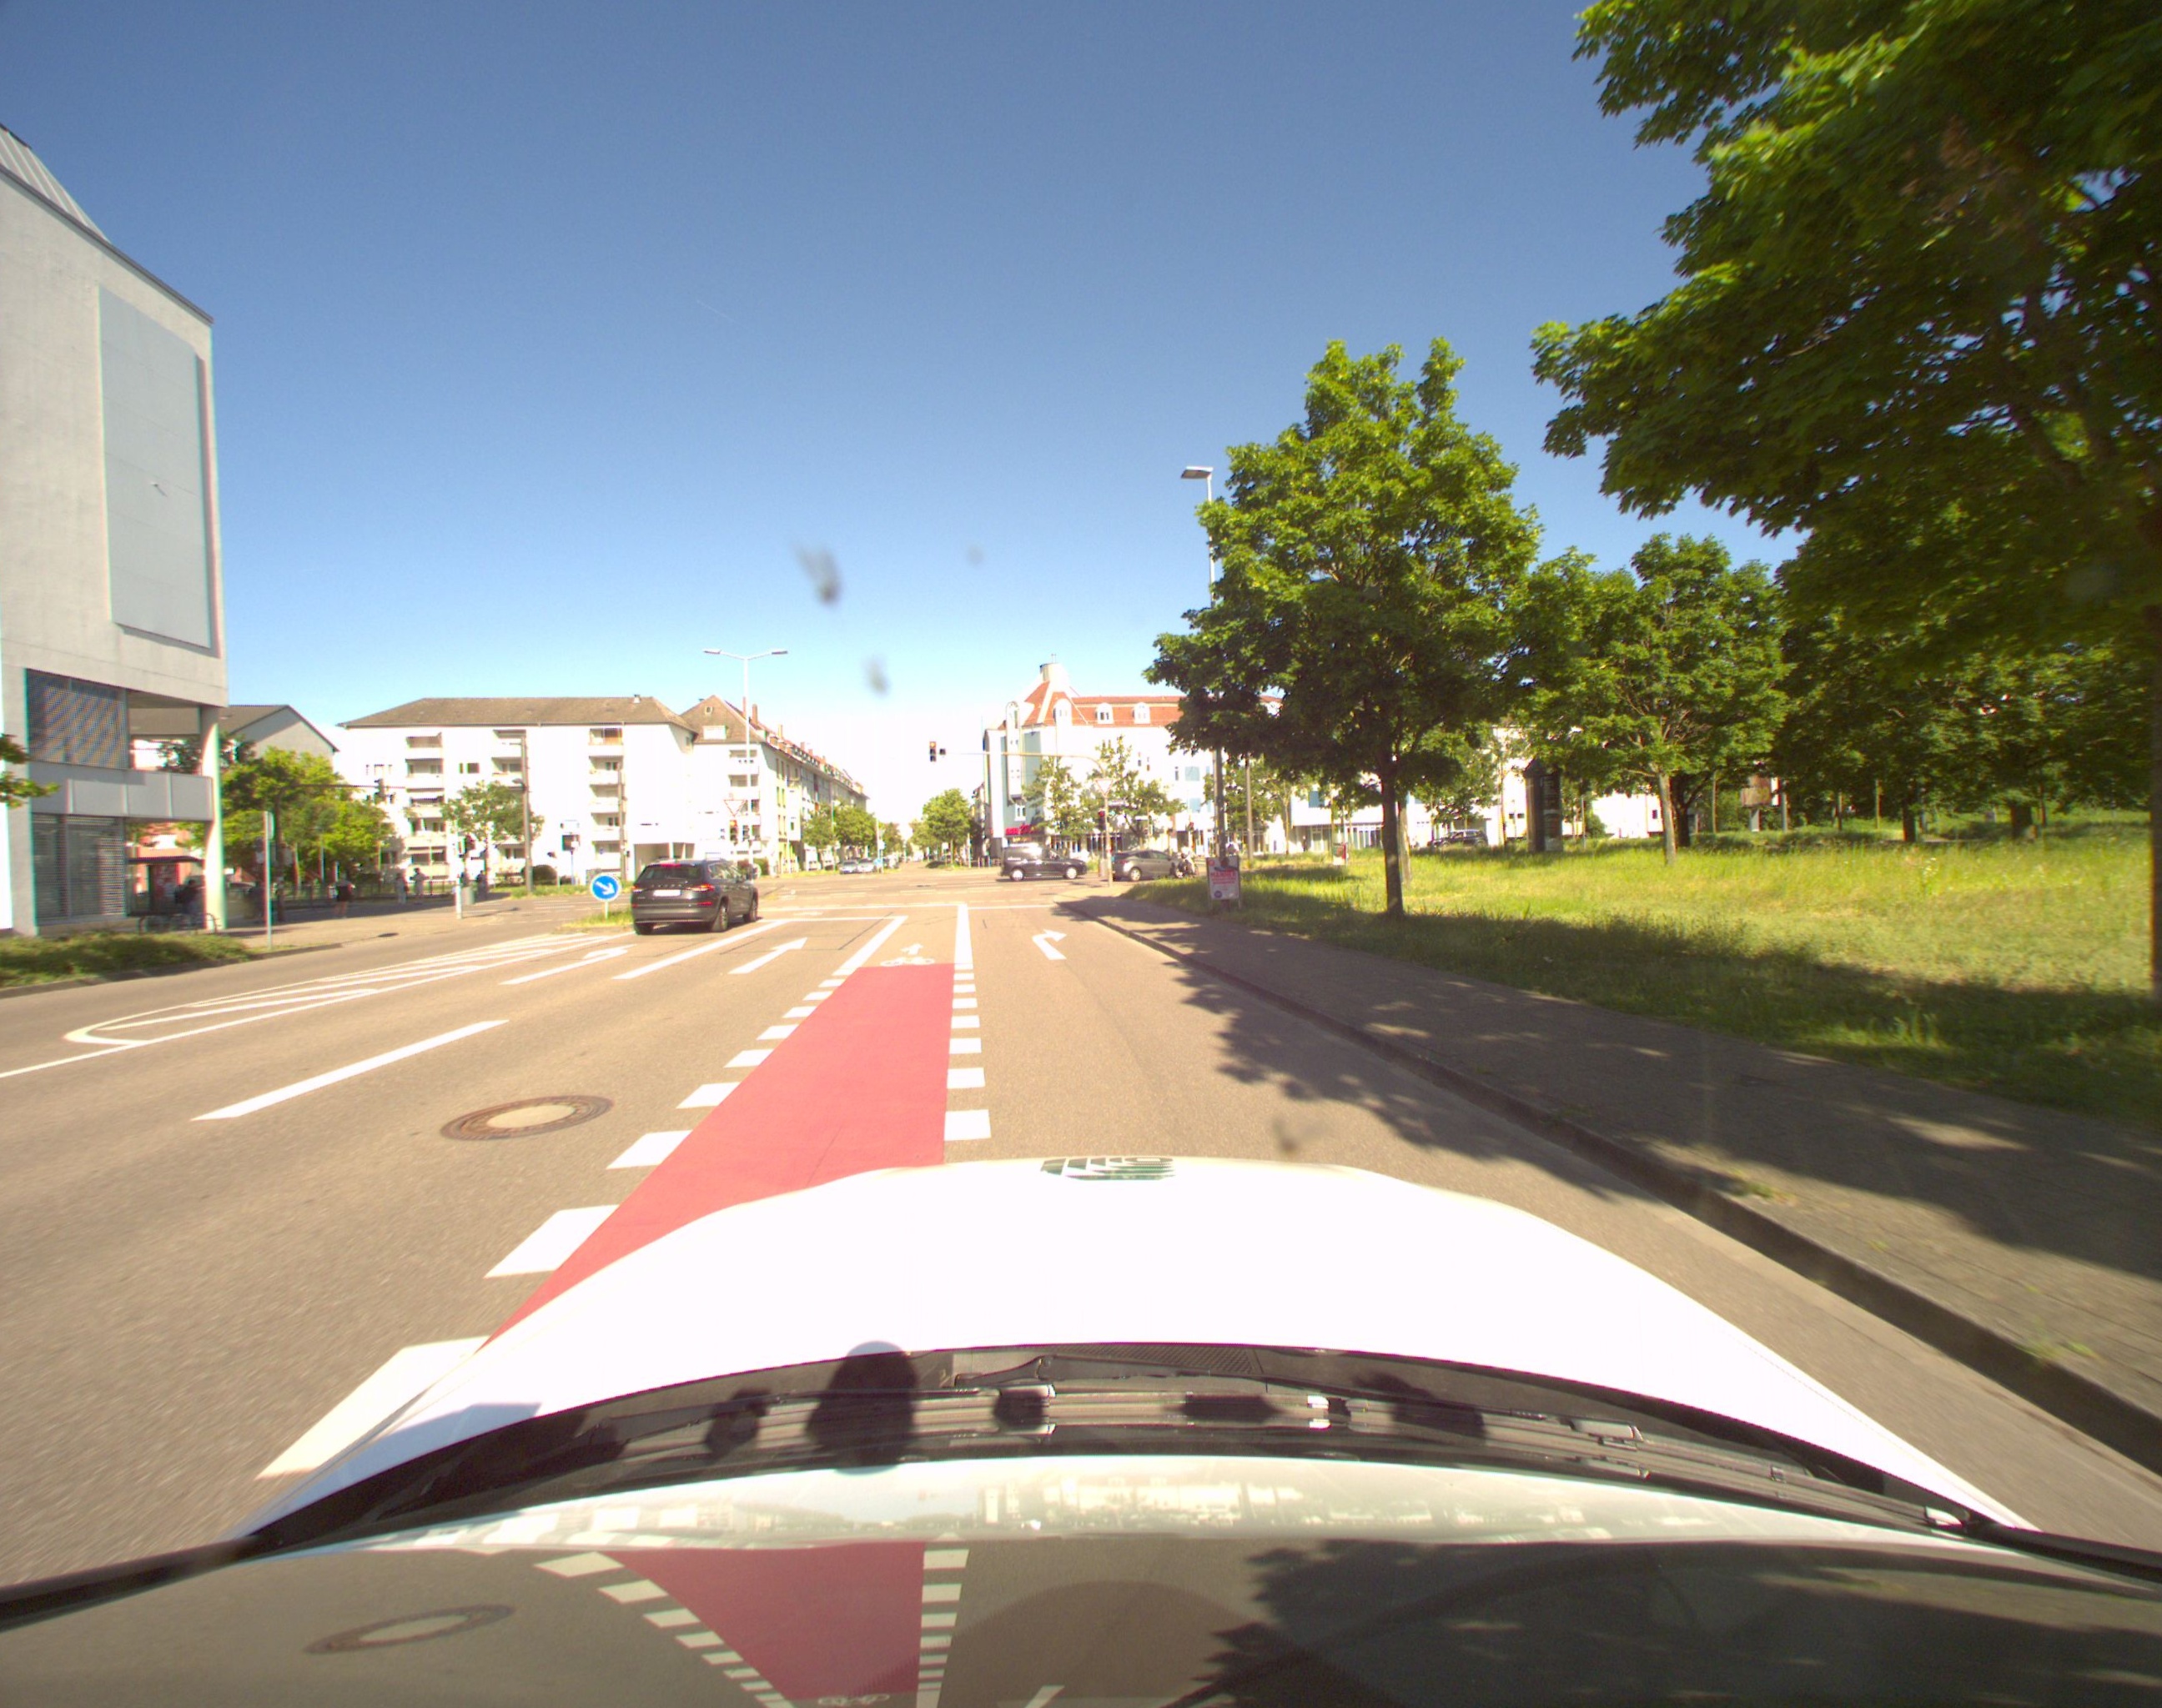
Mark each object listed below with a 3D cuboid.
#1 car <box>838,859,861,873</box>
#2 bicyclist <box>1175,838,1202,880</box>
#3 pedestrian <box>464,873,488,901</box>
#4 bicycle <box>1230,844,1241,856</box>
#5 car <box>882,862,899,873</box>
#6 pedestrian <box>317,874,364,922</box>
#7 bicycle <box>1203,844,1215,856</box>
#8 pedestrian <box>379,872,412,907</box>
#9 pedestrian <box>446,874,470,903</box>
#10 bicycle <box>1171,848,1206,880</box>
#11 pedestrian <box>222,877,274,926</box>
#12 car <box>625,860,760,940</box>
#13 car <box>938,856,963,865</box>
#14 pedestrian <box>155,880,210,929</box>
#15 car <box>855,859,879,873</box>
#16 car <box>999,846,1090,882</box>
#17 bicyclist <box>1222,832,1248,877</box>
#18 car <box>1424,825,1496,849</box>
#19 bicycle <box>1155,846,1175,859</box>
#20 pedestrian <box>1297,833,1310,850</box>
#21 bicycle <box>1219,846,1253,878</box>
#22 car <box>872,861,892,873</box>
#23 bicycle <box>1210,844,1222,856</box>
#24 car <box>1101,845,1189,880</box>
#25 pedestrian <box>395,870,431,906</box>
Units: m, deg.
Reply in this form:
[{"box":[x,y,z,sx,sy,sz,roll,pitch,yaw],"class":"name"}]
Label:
[{"box":[-24.545,1.228,86.500,1.686,1.432,4.390,0,0,-6],"class":"car"},{"box":[4.878,0.217,36.976,0.783,1.824,1.142,-3,0,29],"class":"bicyclist"},{"box":[-38.542,2.114,51.855,1.139,1.726,0.818,-3,0,33],"class":"pedestrian"},{"box":[15.634,-0.447,82.479,0.560,1.182,1.865,-3,0,-7],"class":"bicycle"},{"box":[-25.253,1.774,108.063,1.686,1.432,4.390,0,0,-6],"class":"car"},{"box":[-28.306,1.670,31.146,0.812,1.726,1.149,-3,0,-14],"class":"pedestrian"},{"box":[12.881,-0.387,82.141,0.560,1.182,1.863,-3,0,-10],"class":"bicycle"},{"box":[-35.533,1.831,42.241,0.812,1.726,1.149,-3,0,-14],"class":"pedestrian"},{"box":[-39.148,2.171,51.182,1.139,1.726,0.818,-3,0,33],"class":"pedestrian"},{"box":[4.902,0.453,36.981,0.783,1.347,2.092,-3,0,29],"class":"bicycle"},{"box":[-30.980,1.756,30.302,0.812,1.726,1.149,-3,0,-14],"class":"pedestrian"},{"box":[-8.906,0.962,19.104,1.754,1.628,4.461,0,0,-11],"class":"car"},{"box":[-19.731,0.936,122.932,3.573,1.223,1.722,-2,-1,-15],"class":"car"},{"box":[-33.377,1.862,30.283,0.812,1.726,1.149,-3,0,-14],"class":"pedestrian"},{"box":[-21.967,1.195,83.618,1.686,1.432,4.390,0,0,-6],"class":"car"},{"box":[-1.894,0.483,41.760,4.482,1.800,1.759,0,-1,-10],"class":"car"},{"box":[6.943,0.031,36.744,0.783,1.959,1.017,-3,0,29],"class":"bicyclist"},{"box":[28.871,-1.269,62.125,4.486,1.609,2.000,-3,0,0],"class":"car"},{"box":[8.302,-0.131,80.217,1.866,1.182,0.559,-3,0,-13],"class":"bicycle"},{"box":[22.624,-1.251,82.754,0.990,1.723,0.652,-3,0,-10],"class":"pedestrian"},{"box":[7.043,0.346,36.913,0.783,1.347,2.277,-3,0,29],"class":"bicycle"},{"box":[-23.170,1.515,94.918,1.686,1.432,4.390,0,0,-6],"class":"car"},{"box":[13.724,-0.393,82.590,0.560,1.182,1.863,-3,0,-10],"class":"bicycle"},{"box":[3.037,0.411,38.511,3.884,1.578,1.677,0,-1,-31],"class":"car"},{"box":[-33.982,1.715,41.453,0.922,1.770,1.149,-3,0,-14],"class":"pedestrian"}]
